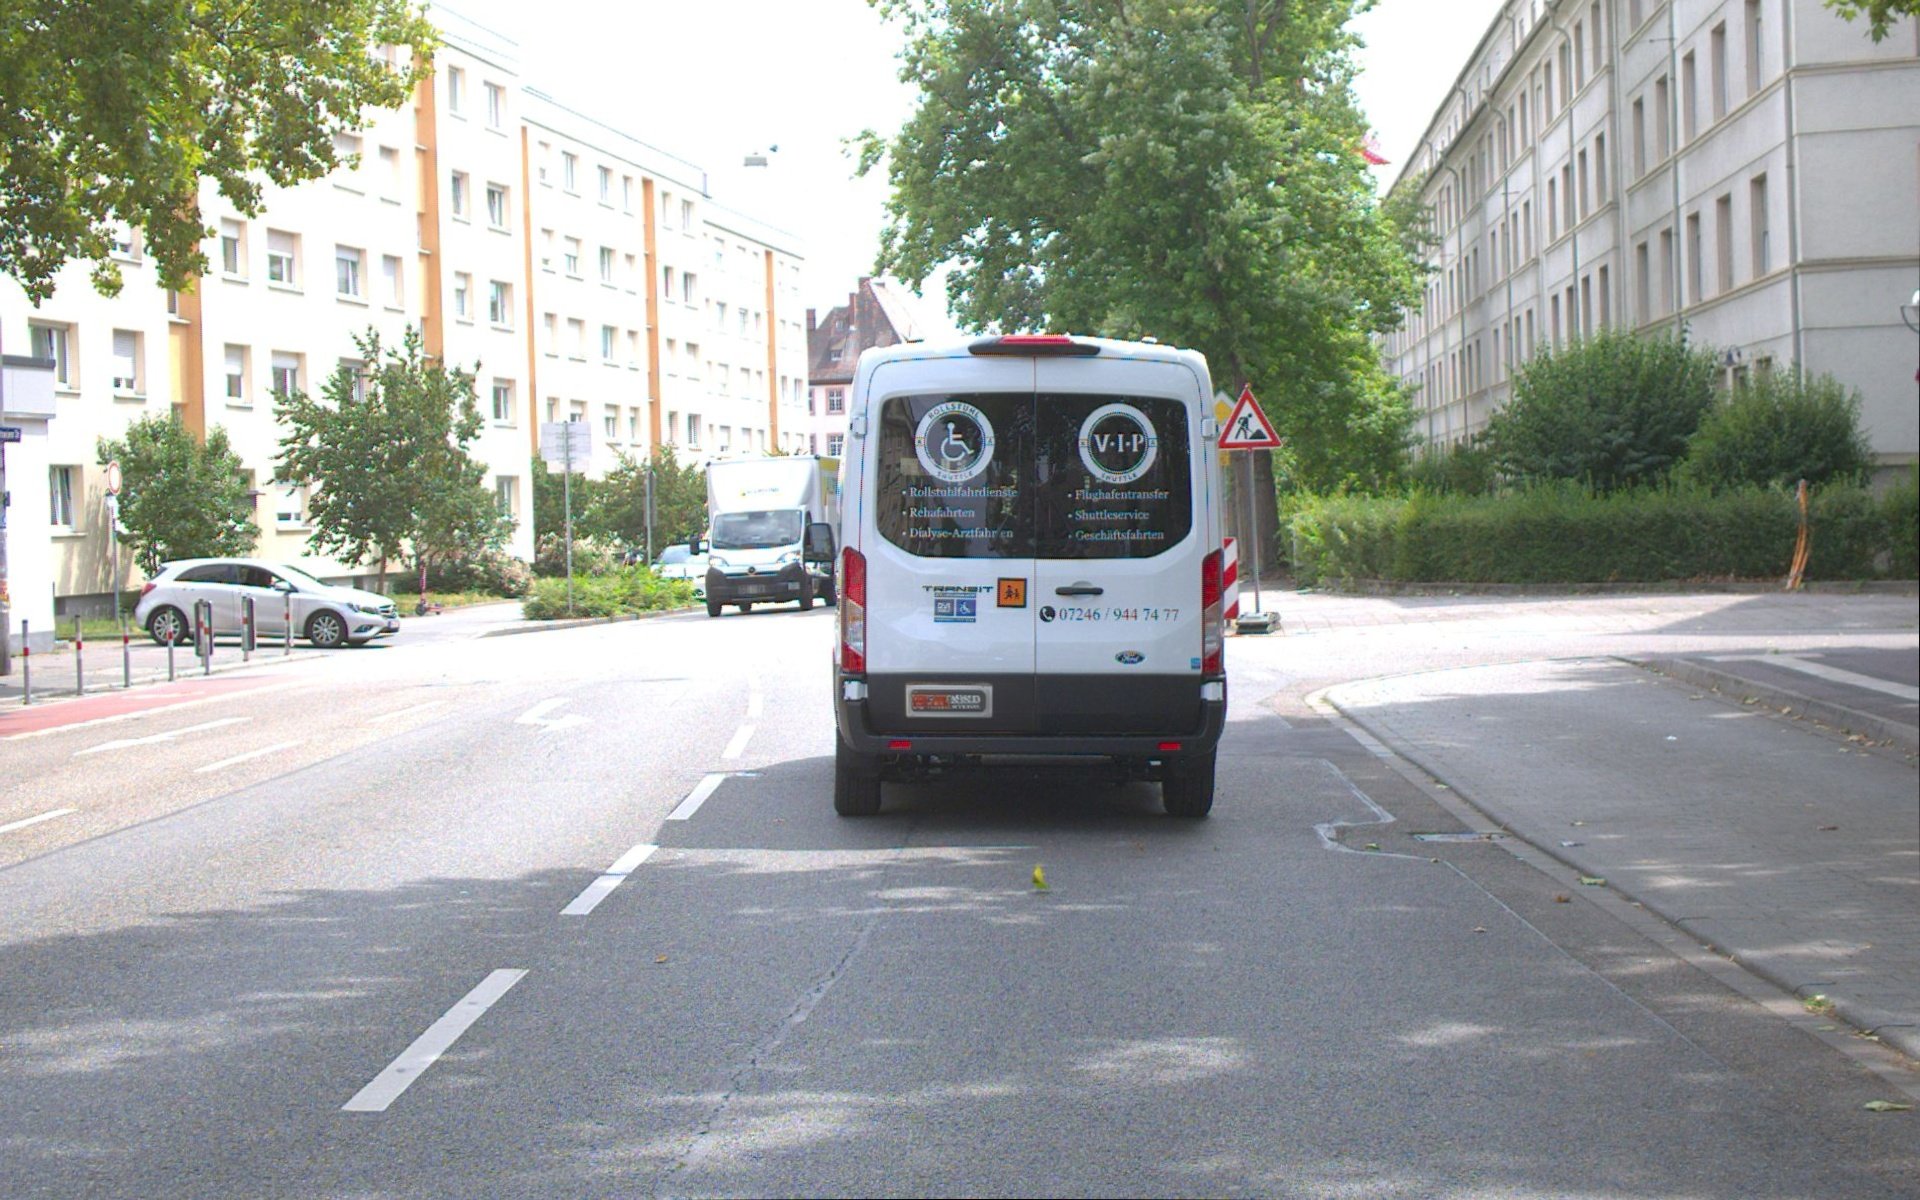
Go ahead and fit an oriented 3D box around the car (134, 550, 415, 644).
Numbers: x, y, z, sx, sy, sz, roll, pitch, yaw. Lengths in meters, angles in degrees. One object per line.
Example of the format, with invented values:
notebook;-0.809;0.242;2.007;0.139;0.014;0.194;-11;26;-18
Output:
car;-11.317;-0.064;56.889;4.172;1.445;1.849;1;1;6

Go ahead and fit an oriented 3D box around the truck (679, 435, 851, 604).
truck;-3.861;-1.632;69.575;2.541;3.097;7.020;-4;1;3

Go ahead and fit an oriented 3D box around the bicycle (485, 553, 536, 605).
bicycle;-11.537;-0.548;88.262;0.579;1.246;1.932;-1;2;15

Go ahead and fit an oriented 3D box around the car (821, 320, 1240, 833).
car;0.443;-0.163;19.330;2.070;2.531;4.634;0;1;2
